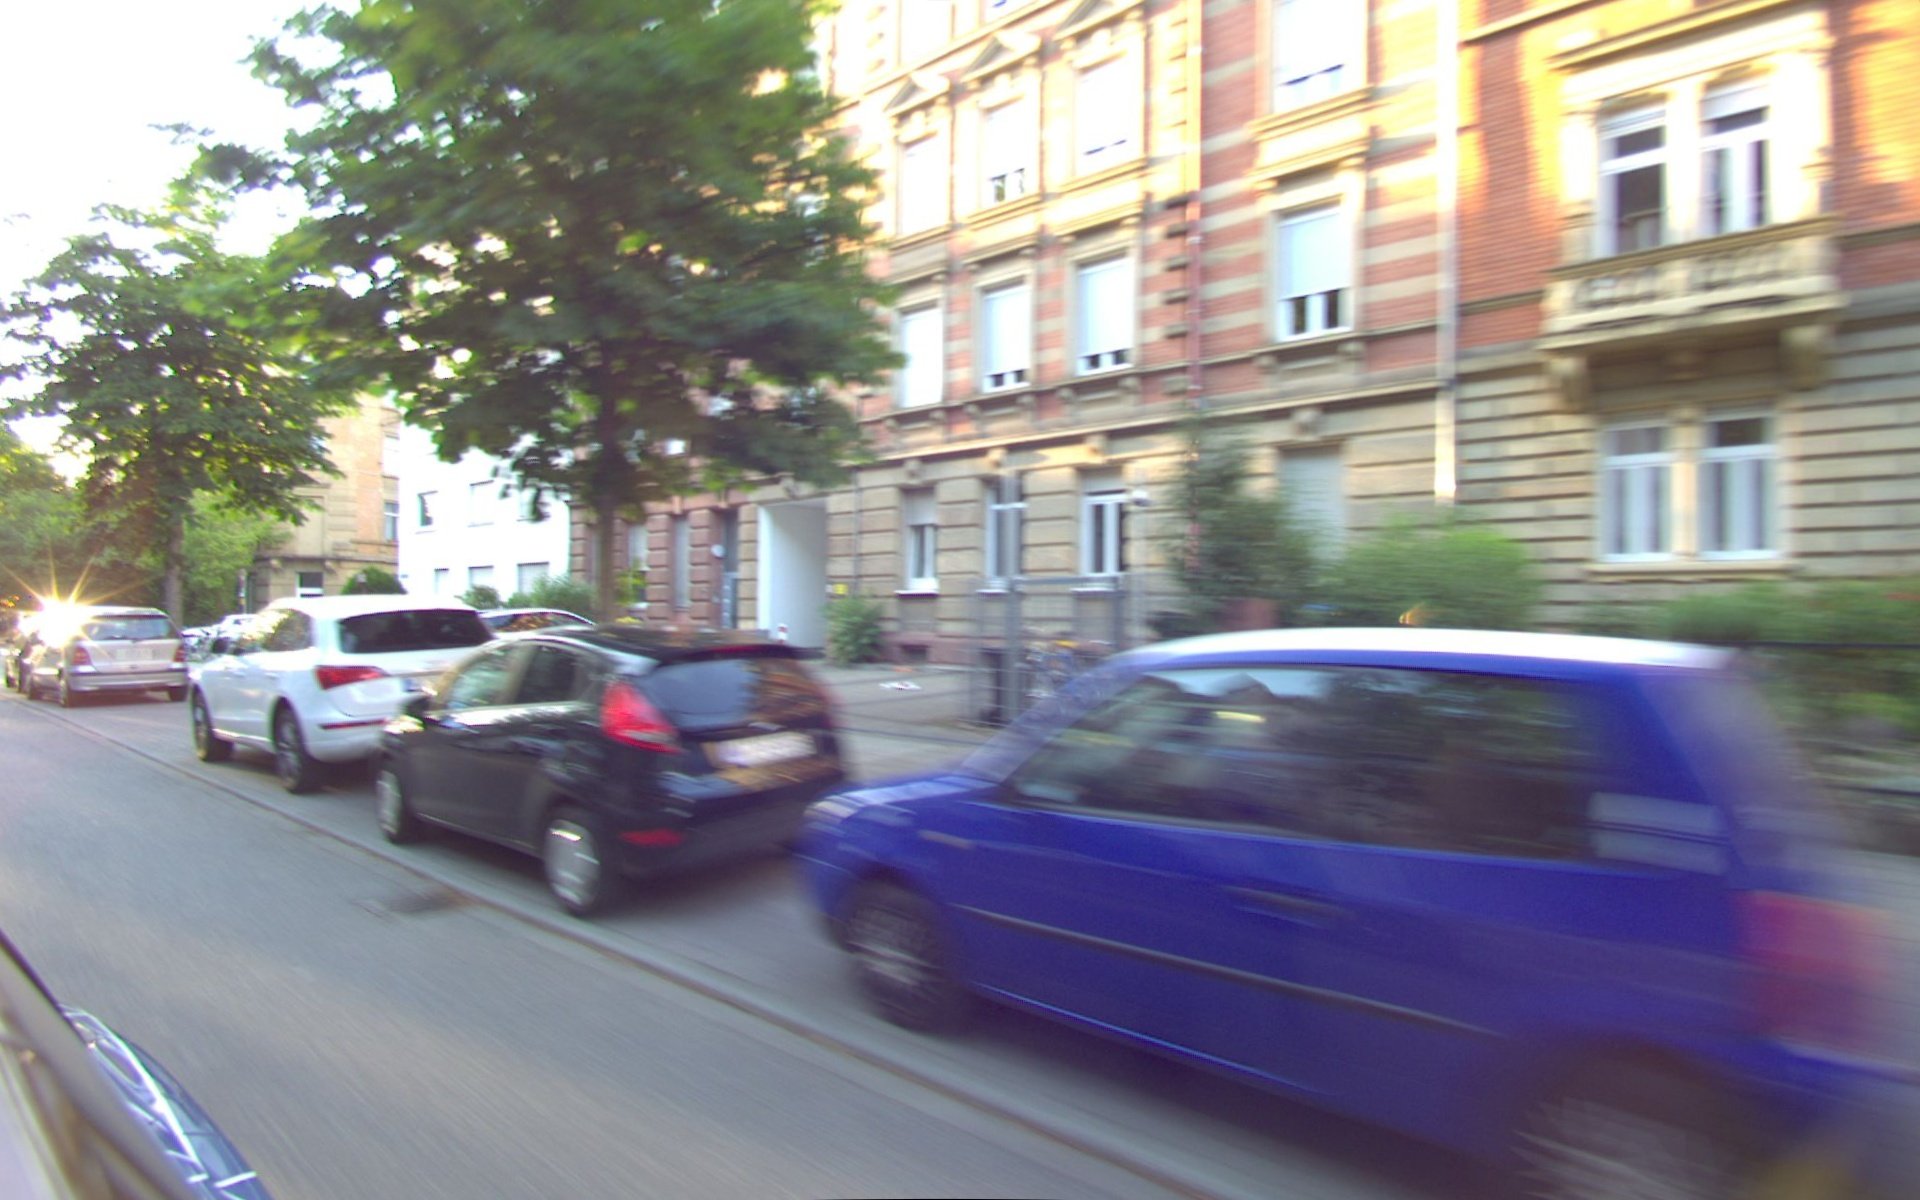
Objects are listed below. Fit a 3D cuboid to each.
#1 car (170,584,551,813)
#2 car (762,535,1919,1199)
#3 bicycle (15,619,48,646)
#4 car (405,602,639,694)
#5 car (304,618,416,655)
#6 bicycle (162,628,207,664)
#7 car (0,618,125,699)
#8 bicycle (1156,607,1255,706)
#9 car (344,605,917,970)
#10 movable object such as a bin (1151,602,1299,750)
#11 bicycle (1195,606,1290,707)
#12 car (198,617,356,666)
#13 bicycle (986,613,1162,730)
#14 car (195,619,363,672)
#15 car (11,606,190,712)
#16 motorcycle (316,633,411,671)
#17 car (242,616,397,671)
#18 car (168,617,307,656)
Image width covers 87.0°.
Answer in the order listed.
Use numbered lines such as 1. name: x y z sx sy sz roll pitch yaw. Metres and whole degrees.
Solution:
1. car: -5.976 0.794 9.860 4.425 1.730 1.901 -1 -2 41
2. car: 1.194 0.707 3.384 3.786 1.578 1.698 -1 -2 41
3. bicycle: -45.616 1.606 49.755 0.597 1.294 2.493 2 -2 -29
4. car: -8.854 0.894 20.735 1.707 1.539 4.052 -1 1 39
5. car: -27.434 1.653 46.385 1.702 1.564 4.065 1 -1 29
6. bicycle: -26.021 1.528 33.960 1.663 1.190 0.242 0 -1 15
7. car: -18.144 1.112 20.371 3.961 1.482 1.598 -1 -2 43
8. bicycle: 3.509 0.747 14.292 0.641 1.201 2.511 -2 0 30
9. car: -2.218 0.832 6.306 3.779 1.578 1.698 0 -1 41
10. movable object such as a bin: 2.611 0.708 9.963 1.001 1.331 1.006 -2 0 -44
11. bicycle: 3.959 0.732 14.027 0.641 1.201 2.511 -2 0 30
12. car: -21.802 1.300 32.392 4.041 1.458 1.712 1 -2 -40
13. bicycle: 1.443 0.816 12.359 2.499 1.201 0.644 -3 0 -44
14. car: -20.406 1.331 30.388 4.040 1.458 1.821 1 -2 -39
15. car: -14.742 0.943 17.310 3.738 1.615 1.580 -1 -2 38
16. motorcycle: -16.516 1.420 28.043 2.208 0.965 0.588 0 -1 -40
17. car: -18.221 1.210 28.829 3.519 1.458 1.820 1 -2 -41
18. car: -30.057 1.532 42.247 1.703 1.564 4.419 -2 -3 31
